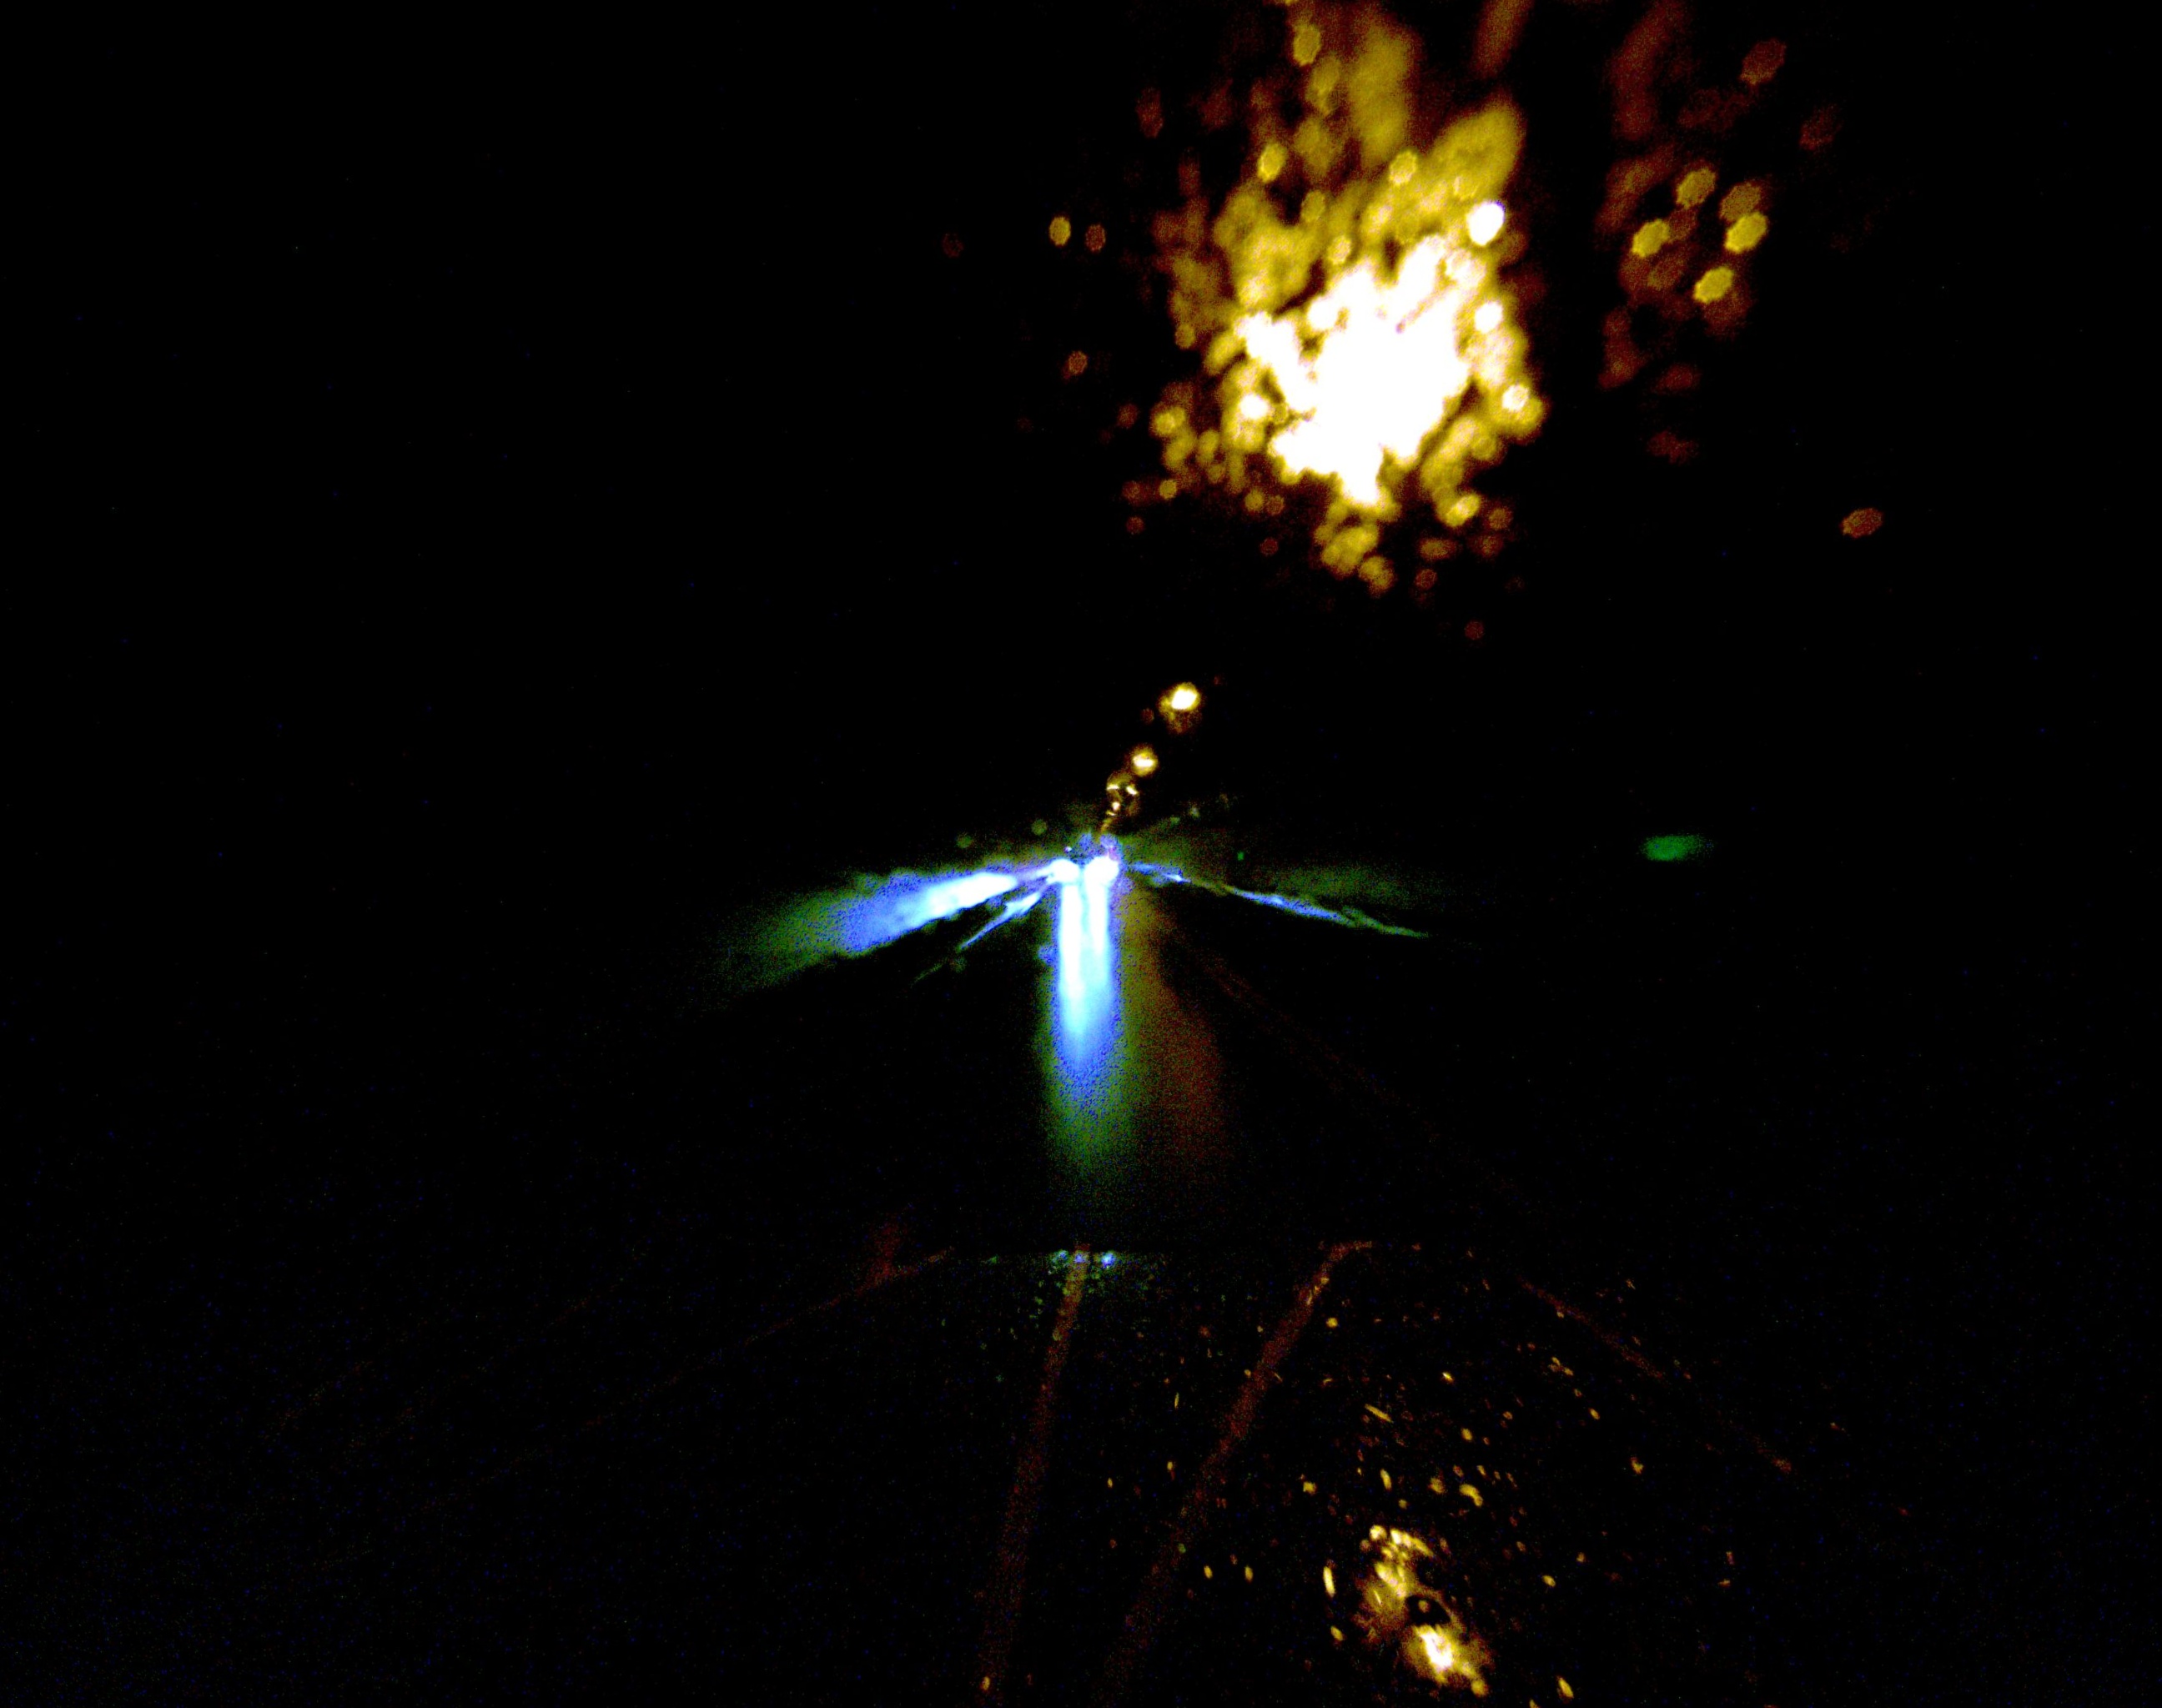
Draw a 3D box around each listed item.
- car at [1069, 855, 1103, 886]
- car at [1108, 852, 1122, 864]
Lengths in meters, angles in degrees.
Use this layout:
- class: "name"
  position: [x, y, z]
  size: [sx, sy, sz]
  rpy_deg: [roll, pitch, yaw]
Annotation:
- class: "car"
  position: [0.312, 0.880, 41.764]
  size: [1.730, 1.595, 4.000]
  rpy_deg: [-1, 0, 2]
- class: "car"
  position: [4.695, 0.574, 104.205]
  size: [1.888, 1.595, 4.001]
  rpy_deg: [-1, 0, 3]
